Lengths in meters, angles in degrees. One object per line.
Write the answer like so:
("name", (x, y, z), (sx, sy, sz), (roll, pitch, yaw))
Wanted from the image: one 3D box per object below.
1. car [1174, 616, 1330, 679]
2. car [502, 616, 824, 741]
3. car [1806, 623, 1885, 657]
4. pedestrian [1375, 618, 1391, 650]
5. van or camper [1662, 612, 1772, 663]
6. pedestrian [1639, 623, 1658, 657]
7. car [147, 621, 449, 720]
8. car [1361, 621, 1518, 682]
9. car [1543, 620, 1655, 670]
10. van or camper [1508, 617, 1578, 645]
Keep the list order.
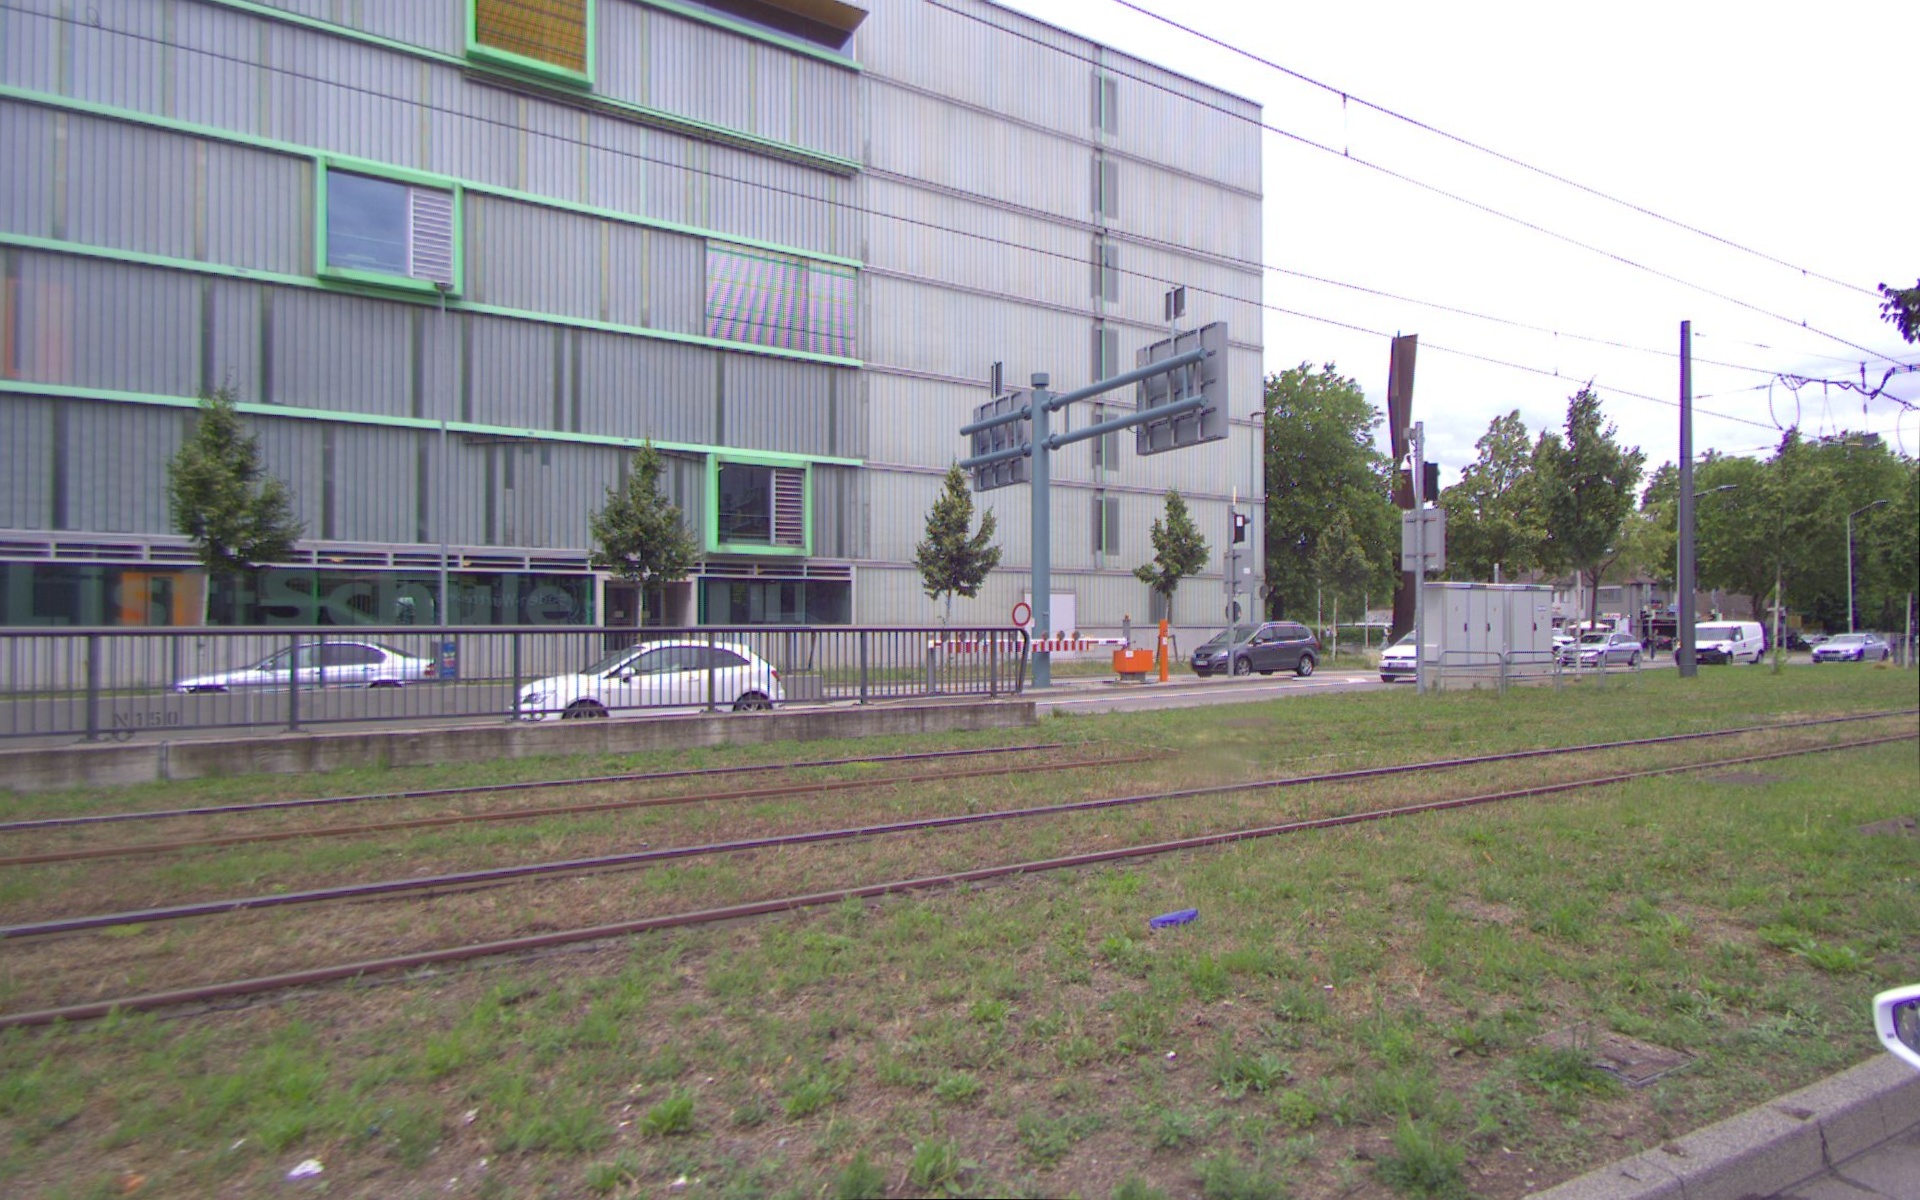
("car", (9.392, 1.463, 32.228), (4.909, 1.848, 1.984), (0, -1, -30))
("car", (-4.468, 1.076, 15.309), (4.334, 1.607, 1.981), (0, -1, -35))
("car", (42.592, 1.896, 48.265), (4.873, 1.464, 1.717), (0, -3, -35))
("pedestrian", (27.601, 2.220, 65.582), (0.887, 2.040, 0.954), (-1, -1, 18))
("van or camper", (30.726, 1.494, 40.728), (5.068, 1.925, 1.879), (1, -2, -32))
("pedestrian", (38.833, 2.243, 56.667), (0.769, 1.857, 0.771), (-1, -1, 43))
("car", (-12.405, 1.244, 19.190), (4.595, 1.688, 1.983), (1, -1, -32))
("car", (13.107, 1.363, 27.377), (4.523, 1.499, 1.753), (0, -2, -33))
("car", (28.048, 1.912, 44.038), (5.232, 2.040, 1.984), (0, -1, -30))
("van or camper", (44.477, 2.355, 76.752), (2.416, 2.040, 5.283), (0, -1, 2))
